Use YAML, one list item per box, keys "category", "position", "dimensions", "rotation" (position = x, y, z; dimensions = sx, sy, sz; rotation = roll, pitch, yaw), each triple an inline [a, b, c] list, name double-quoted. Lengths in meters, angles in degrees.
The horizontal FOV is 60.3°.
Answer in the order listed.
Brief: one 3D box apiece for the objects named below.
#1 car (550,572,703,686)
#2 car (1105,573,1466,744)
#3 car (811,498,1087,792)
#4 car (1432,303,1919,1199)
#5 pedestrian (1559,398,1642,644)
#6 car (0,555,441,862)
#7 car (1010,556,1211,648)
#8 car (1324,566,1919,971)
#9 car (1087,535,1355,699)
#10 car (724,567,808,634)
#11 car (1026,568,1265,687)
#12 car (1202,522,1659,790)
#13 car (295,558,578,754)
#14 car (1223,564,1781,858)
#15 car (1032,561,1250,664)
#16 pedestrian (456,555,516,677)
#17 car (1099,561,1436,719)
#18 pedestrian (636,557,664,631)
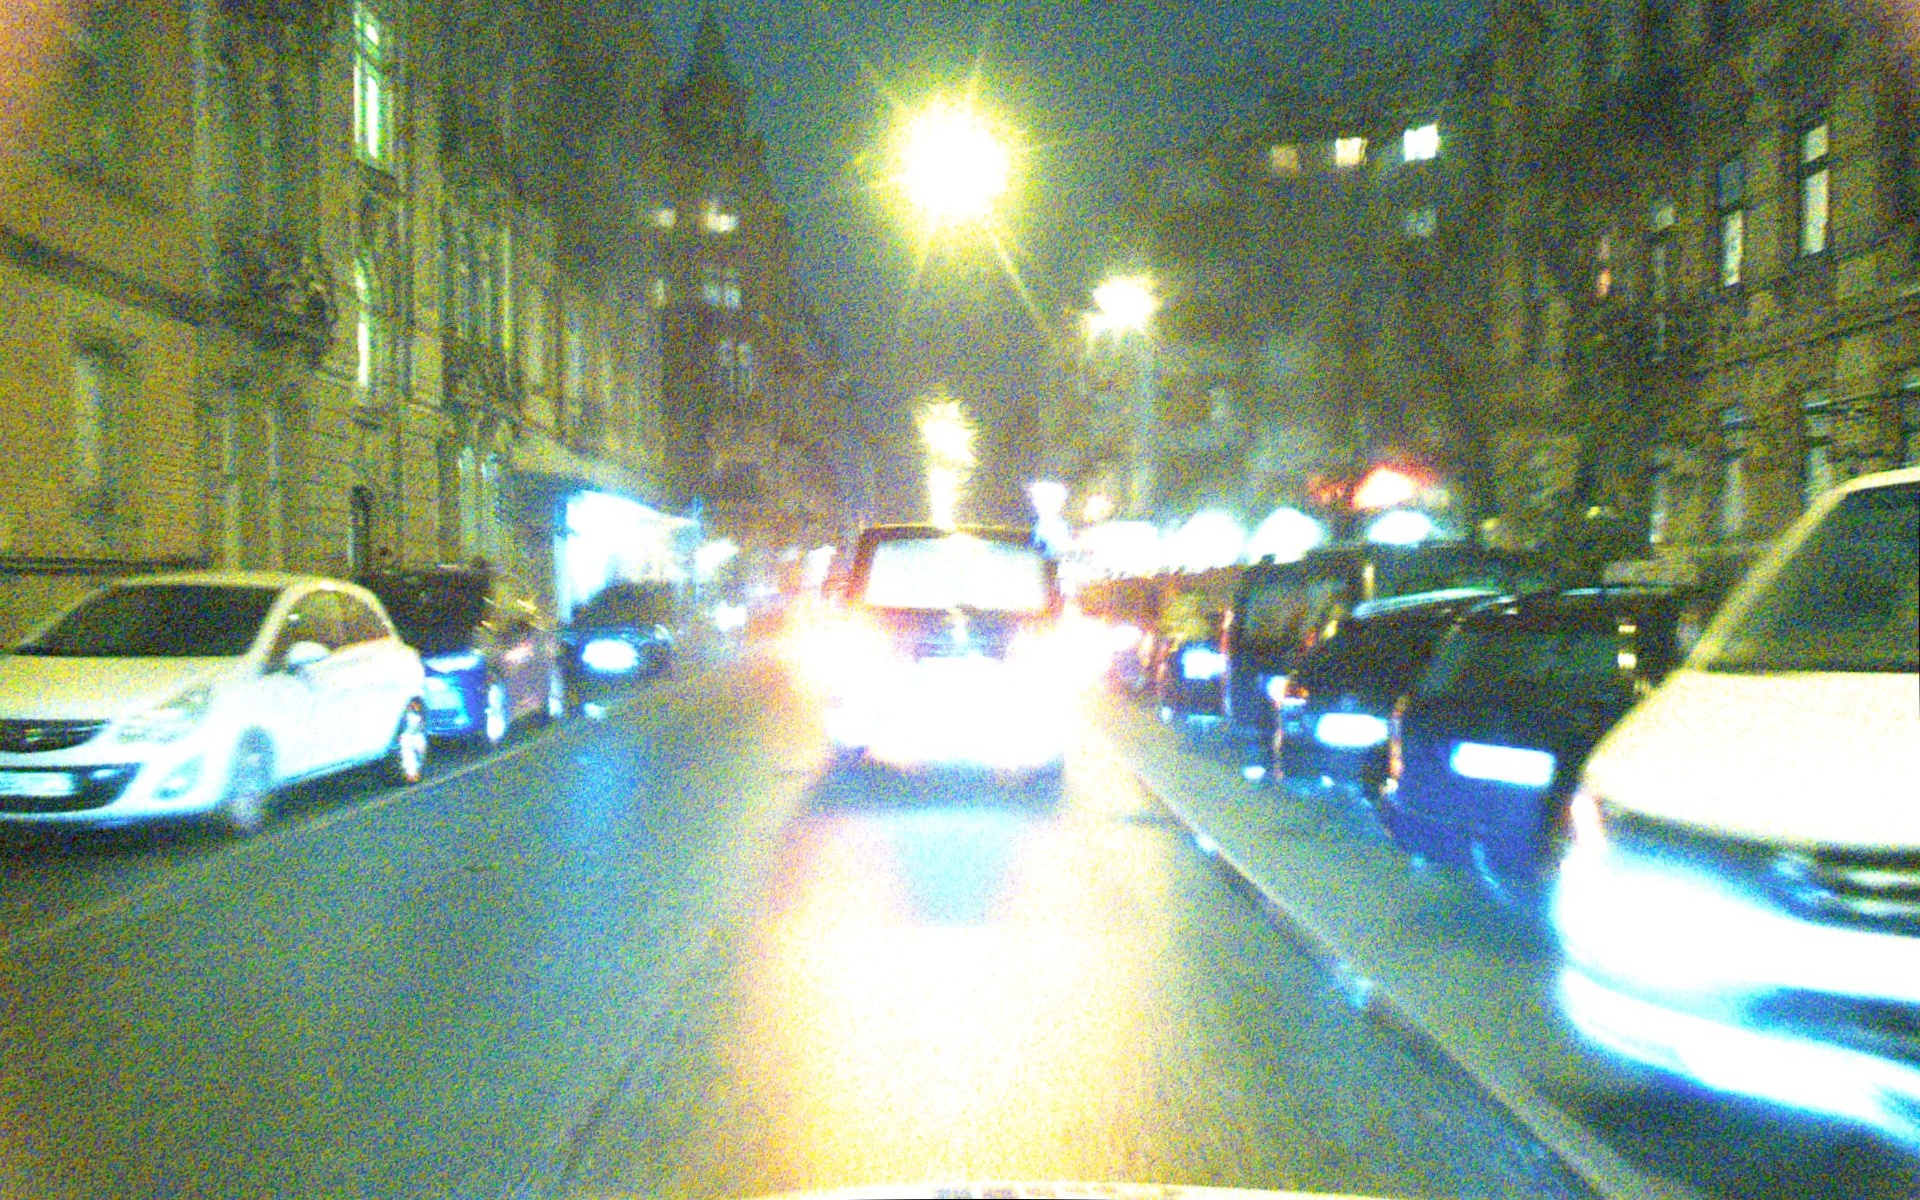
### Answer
- category: "car"
  position: [-5.021, 0.390, 25.367]
  dimensions: [1.777, 1.584, 4.073]
  rotation: [1, 1, -4]
- category: "car"
  position: [3.353, 0.528, 16.830]
  dimensions: [3.527, 1.478, 1.651]
  rotation: [-2, 1, -36]
- category: "car"
  position: [-0.103, 0.327, 13.824]
  dimensions: [1.953, 2.086, 3.999]
  rotation: [0, 0, -1]
- category: "car"
  position: [3.900, 0.377, 5.169]
  dimensions: [4.737, 2.084, 2.044]
  rotation: [0, 1, -32]
- category: "pedestrian"
  position: [9.521, -1.163, 24.606]
  dimensions: [0.873, 3.589, 0.791]
  rotation: [1, 0, -1]
- category: "car"
  position: [-4.566, 0.517, 10.101]
  dimensions: [1.554, 1.508, 3.793]
  rotation: [1, 1, 0]
- category: "car"
  position: [3.132, 0.033, 34.146]
  dimensions: [3.958, 1.792, 1.856]
  rotation: [0, 1, -38]
- category: "car"
  position: [3.547, 0.643, 8.047]
  dimensions: [3.471, 1.520, 1.434]
  rotation: [-2, 1, -33]
- category: "car"
  position: [3.585, 0.178, 22.463]
  dimensions: [3.529, 2.025, 1.584]
  rotation: [-2, 1, -38]
- category: "car"
  position: [-5.209, -0.006, 44.872]
  dimensions: [1.845, 1.714, 3.999]
  rotation: [1, 1, -1]
- category: "car"
  position: [2.876, 0.387, 25.366]
  dimensions: [3.529, 1.618, 1.584]
  rotation: [-2, 1, -38]
- category: "car"
  position: [3.904, 0.350, 13.488]
  dimensions: [3.711, 1.872, 1.703]
  rotation: [-2, 1, -38]
- category: "car"
  position: [-4.749, 0.443, 15.572]
  dimensions: [1.623, 1.584, 4.073]
  rotation: [1, 1, -4]
- category: "car"
  position: [3.568, 0.587, 10.689]
  dimensions: [3.527, 1.510, 1.704]
  rotation: [-2, 1, -37]
- category: "car"
  position: [3.476, 0.178, 31.447]
  dimensions: [3.959, 1.792, 1.856]
  rotation: [-2, 2, -38]
- category: "pedestrian"
  position: [-6.841, 0.225, 23.896]
  dimensions: [0.687, 1.733, 0.539]
  rotation: [1, 0, -1]
- category: "car"
  position: [3.802, 0.422, 20.183]
  dimensions: [3.958, 1.615, 1.856]
  rotation: [-3, 1, -37]
- category: "pedestrian"
  position: [-8.167, -0.160, 43.580]
  dimensions: [0.648, 1.937, 0.538]
  rotation: [1, 0, -5]
